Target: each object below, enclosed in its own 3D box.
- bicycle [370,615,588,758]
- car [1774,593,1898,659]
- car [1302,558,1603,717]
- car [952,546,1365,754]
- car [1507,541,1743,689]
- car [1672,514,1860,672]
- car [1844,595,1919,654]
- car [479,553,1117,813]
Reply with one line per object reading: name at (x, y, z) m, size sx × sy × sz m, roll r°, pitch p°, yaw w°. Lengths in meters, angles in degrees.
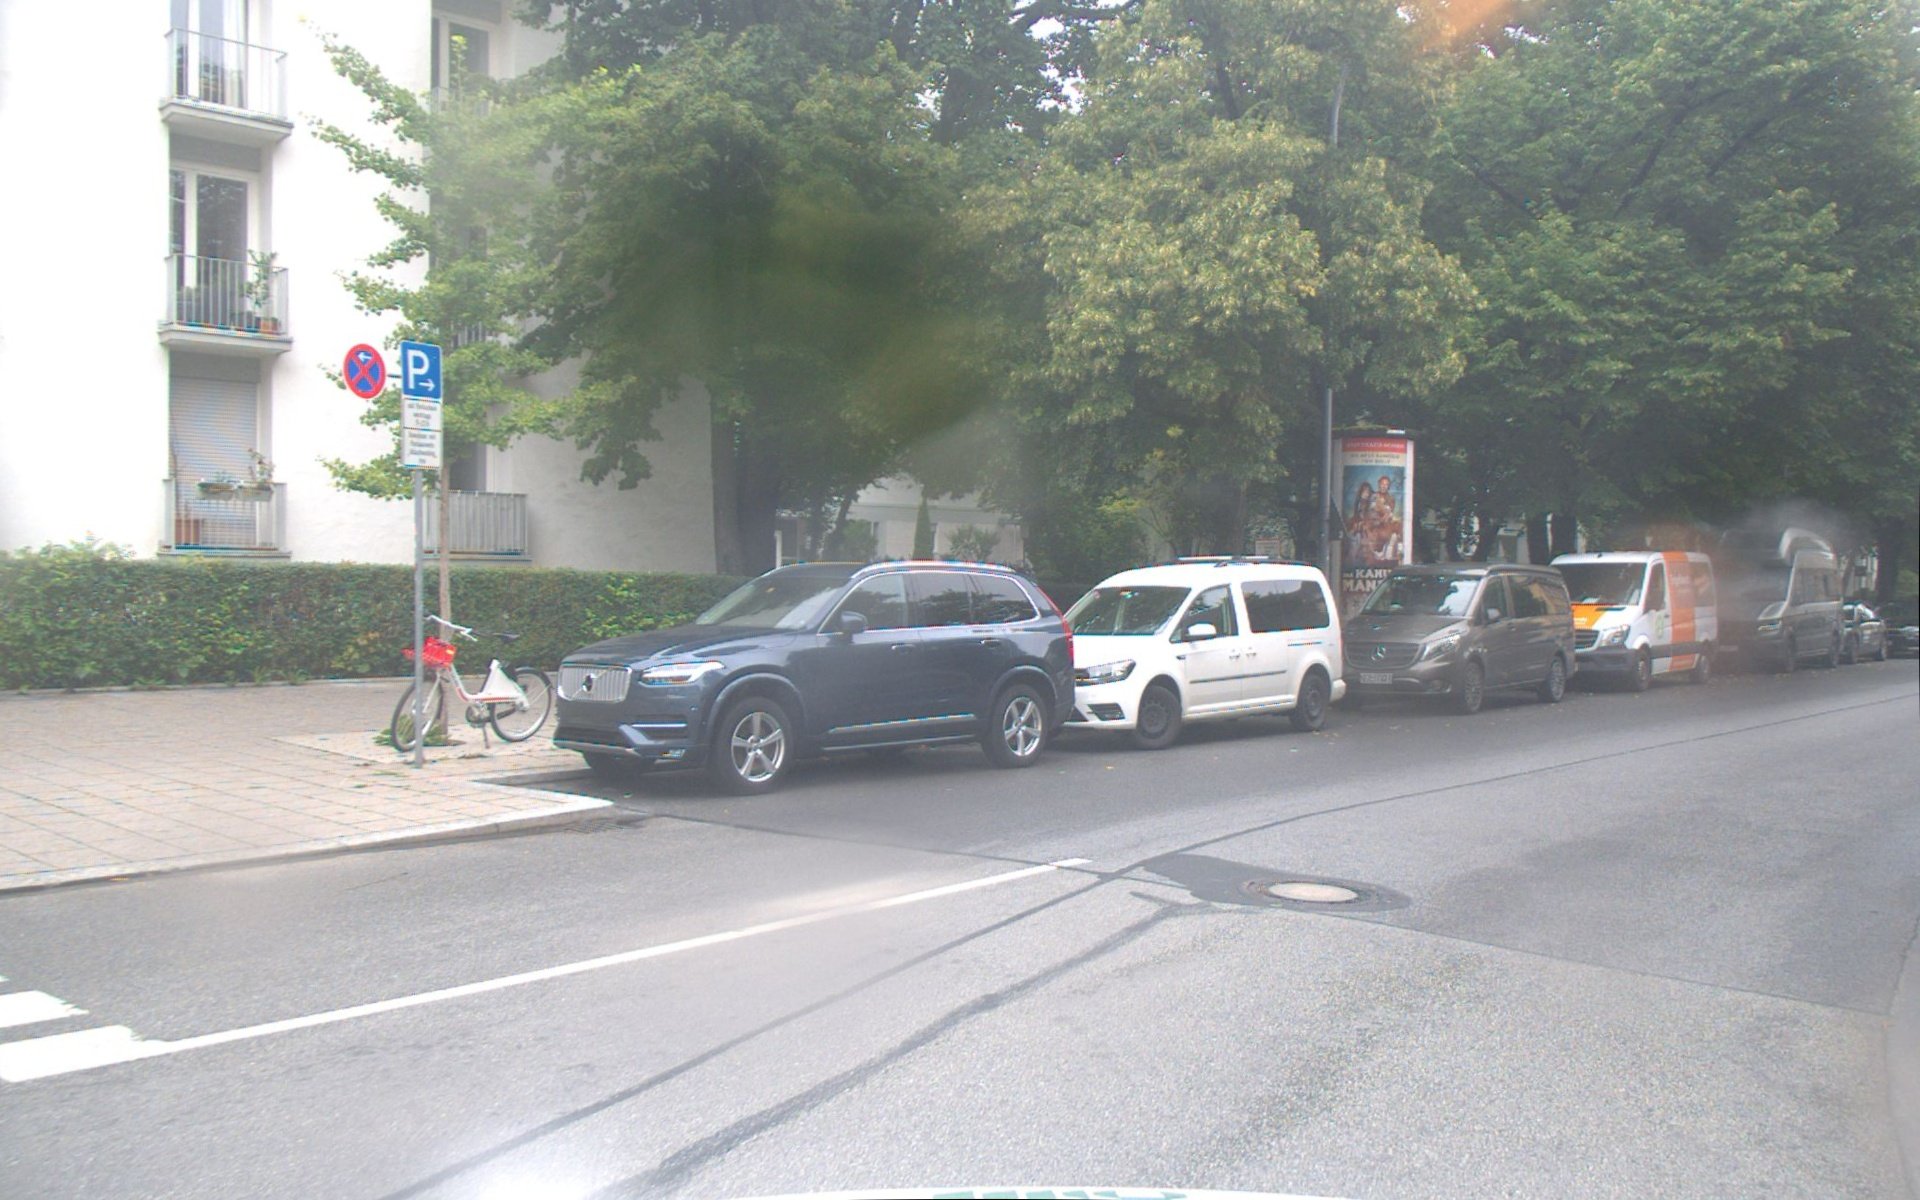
bicycle at (-4.096, 0.703, 14.210) m, size 0.737 × 1.104 × 1.780 m, roll 1°, pitch 1°, yaw 31°
car at (20.957, 0.583, 39.491) m, size 1.962 × 1.445 × 3.982 m, roll 1°, pitch 1°, yaw 38°
car at (6.962, 0.453, 22.925) m, size 1.994 × 1.941 × 5.638 m, roll -1°, pitch 0°, yaw 39°
car at (2.284, 0.446, 17.881) m, size 2.053 × 1.937 × 4.829 m, roll 1°, pitch 1°, yaw 42°
car at (11.532, 0.238, 28.443) m, size 2.053 × 2.304 × 5.570 m, roll -1°, pitch -1°, yaw 41°
car at (17.191, -0.165, 35.092) m, size 2.139 × 3.055 × 6.200 m, roll 1°, pitch 1°, yaw 40°
car at (24.738, 0.601, 43.518) m, size 1.962 × 1.445 × 4.111 m, roll 1°, pitch 1°, yaw 38°
car at (-1.115, 0.537, 13.759) m, size 2.054 × 1.749 × 5.270 m, roll 1°, pitch 1°, yaw 43°
